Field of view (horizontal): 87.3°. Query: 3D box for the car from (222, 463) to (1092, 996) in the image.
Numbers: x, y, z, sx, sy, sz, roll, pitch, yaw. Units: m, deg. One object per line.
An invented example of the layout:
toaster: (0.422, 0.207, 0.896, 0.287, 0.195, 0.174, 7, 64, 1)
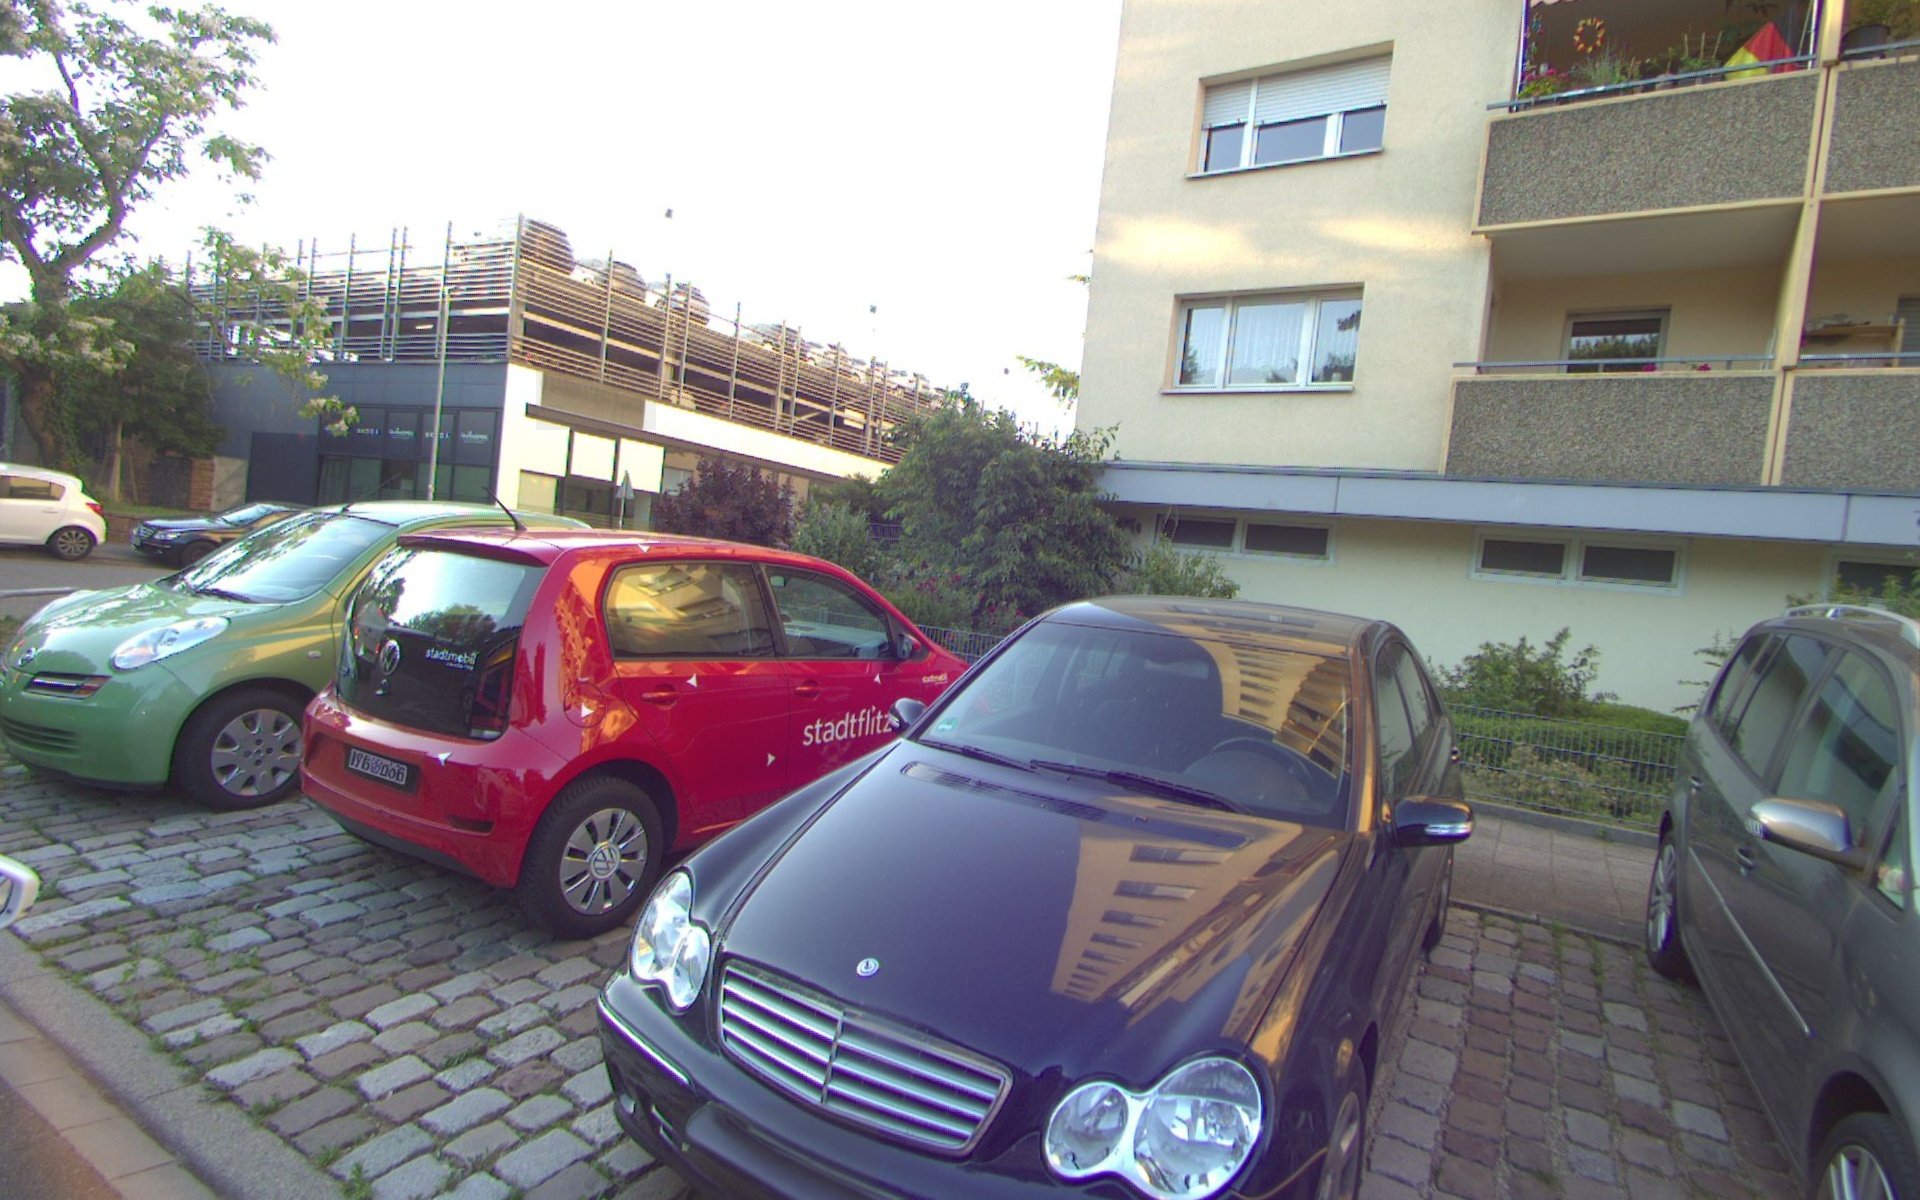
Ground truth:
car: (-1.105, 0.324, 5.511, 1.815, 1.655, 4.398, 7, 5, 32)

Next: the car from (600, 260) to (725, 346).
car: (-10.251, -10.120, 34.575, 3.938, 2.039, 1.994, 7, 0, 36)

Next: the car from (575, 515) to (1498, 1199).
car: (0.967, 0.690, 3.867, 1.814, 1.551, 4.407, 5, 1, 28)

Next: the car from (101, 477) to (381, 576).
car: (-14.642, -1.449, 20.725, 1.794, 1.523, 4.290, 7, 2, 35)

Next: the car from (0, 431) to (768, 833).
car: (-3.408, 0.125, 6.500, 1.814, 1.653, 4.407, 5, 1, 28)

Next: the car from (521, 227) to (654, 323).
car: (-11.985, -10.345, 32.316, 3.938, 2.039, 1.994, 7, 0, 36)

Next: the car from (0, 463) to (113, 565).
car: (-17.225, -1.641, 17.073, 1.924, 1.594, 3.861, 8, 1, 29)

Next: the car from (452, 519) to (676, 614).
car: (-7.971, -0.635, 20.527, 1.794, 1.544, 3.835, 7, 2, 35)

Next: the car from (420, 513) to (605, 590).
car: (-11.221, -1.178, 25.416, 1.794, 1.523, 3.835, 7, 2, 35)

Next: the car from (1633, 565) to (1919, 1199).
car: (3.258, 0.833, 2.731, 1.814, 1.684, 4.405, 5, 3, 28)

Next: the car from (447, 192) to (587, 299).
car: (-13.333, -10.548, 30.237, 3.938, 2.039, 1.994, 7, 0, 36)
